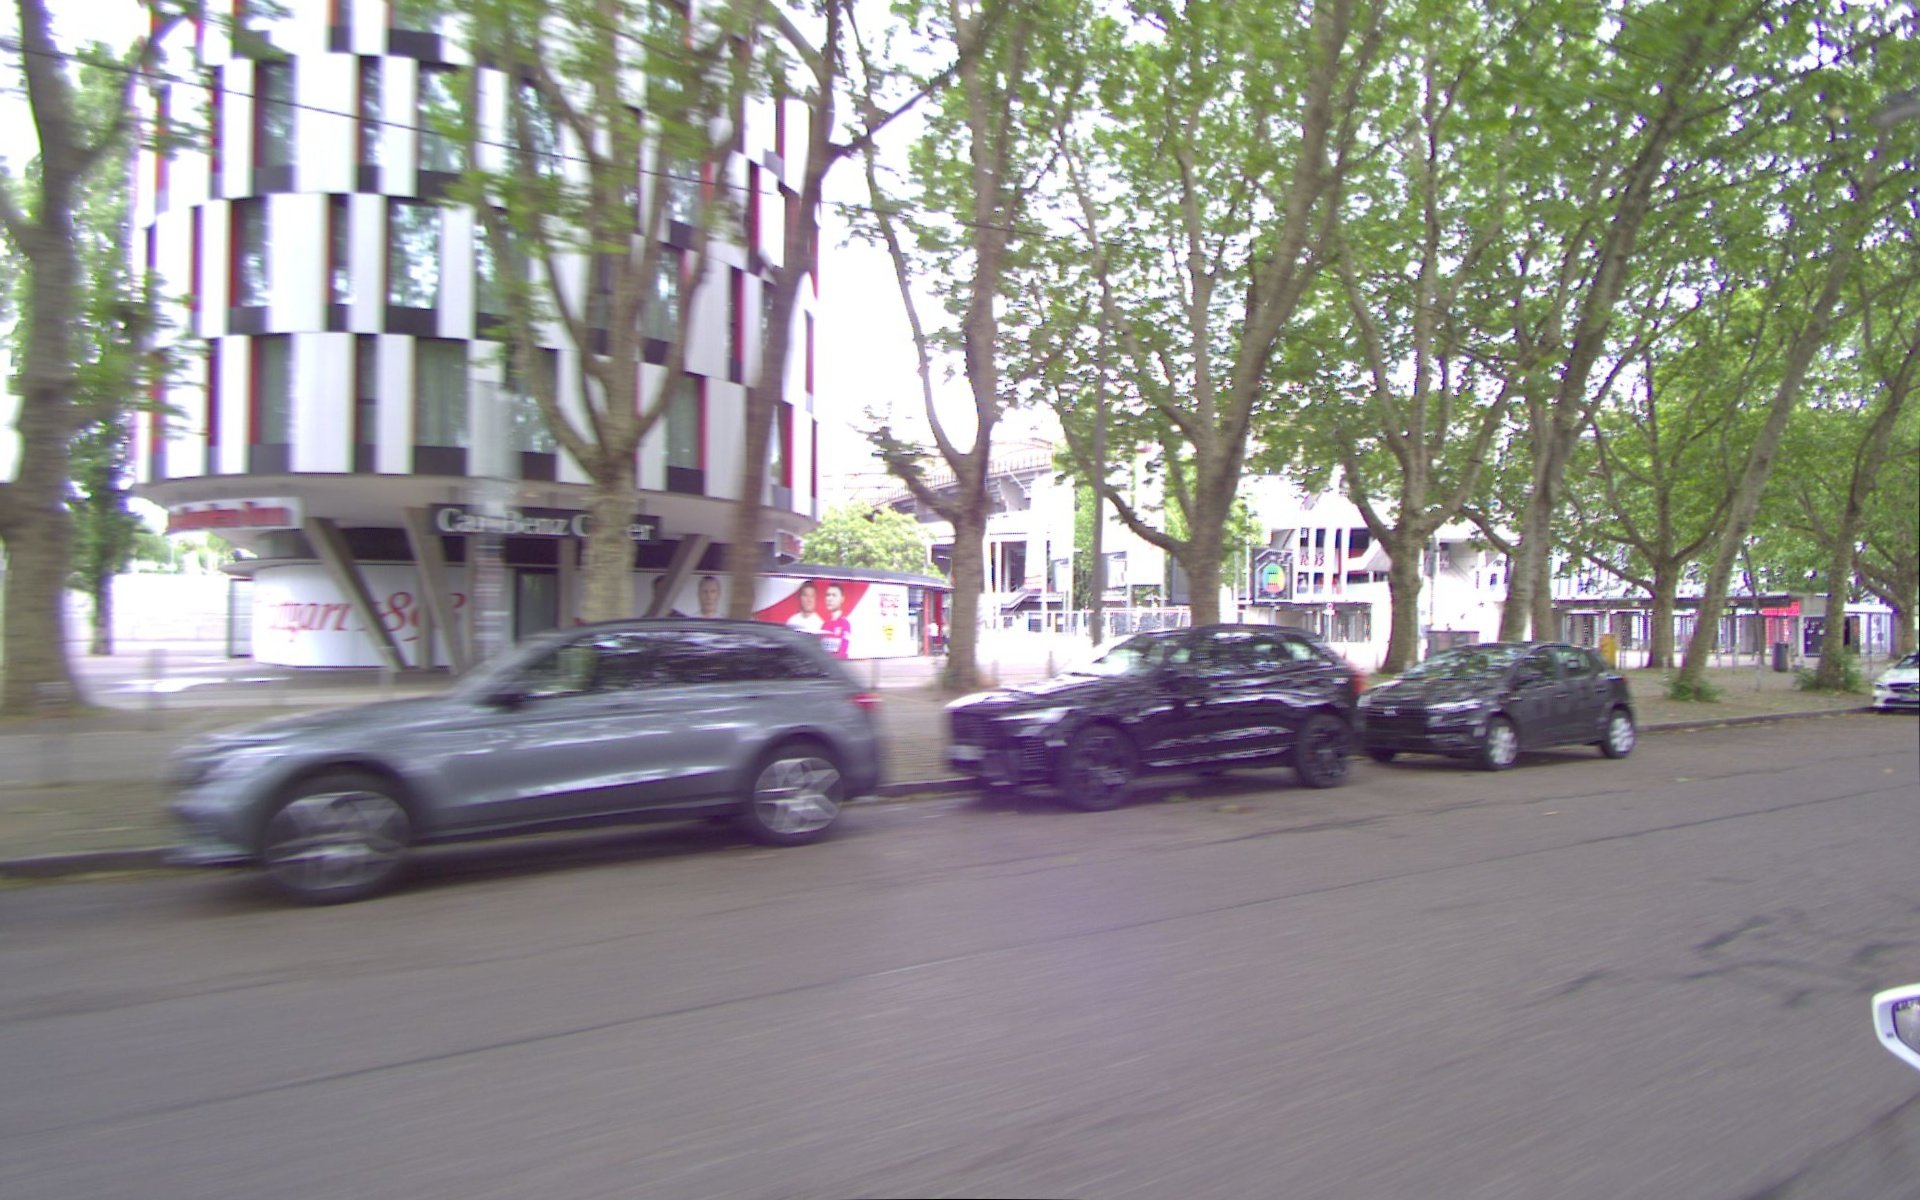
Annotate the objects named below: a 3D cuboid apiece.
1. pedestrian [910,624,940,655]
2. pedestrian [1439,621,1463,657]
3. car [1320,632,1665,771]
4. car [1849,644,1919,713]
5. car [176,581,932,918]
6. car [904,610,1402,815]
[{"bbox_3d":[-1.727,1.955,49.782,1.099,1.481,1.038,1,-2,-33],"label":"pedestrian"},{"bbox_3d":[24.094,1.910,49.255,0.798,1.714,0.722,1,-1,-27],"label":"pedestrian"},{"bbox_3d":[6.858,1.209,12.848,4.390,1.513,1.825,1,-5,-30],"label":"car"},{"bbox_3d":[21.806,1.687,22.139,4.696,1.421,1.896,2,-5,-30],"label":"car"},{"bbox_3d":[-2.645,0.889,7.287,4.599,1.740,1.859,2,-5,-34],"label":"car"},{"bbox_3d":[2.038,1.028,10.225,4.868,1.664,1.930,1,-4,-29],"label":"car"}]
